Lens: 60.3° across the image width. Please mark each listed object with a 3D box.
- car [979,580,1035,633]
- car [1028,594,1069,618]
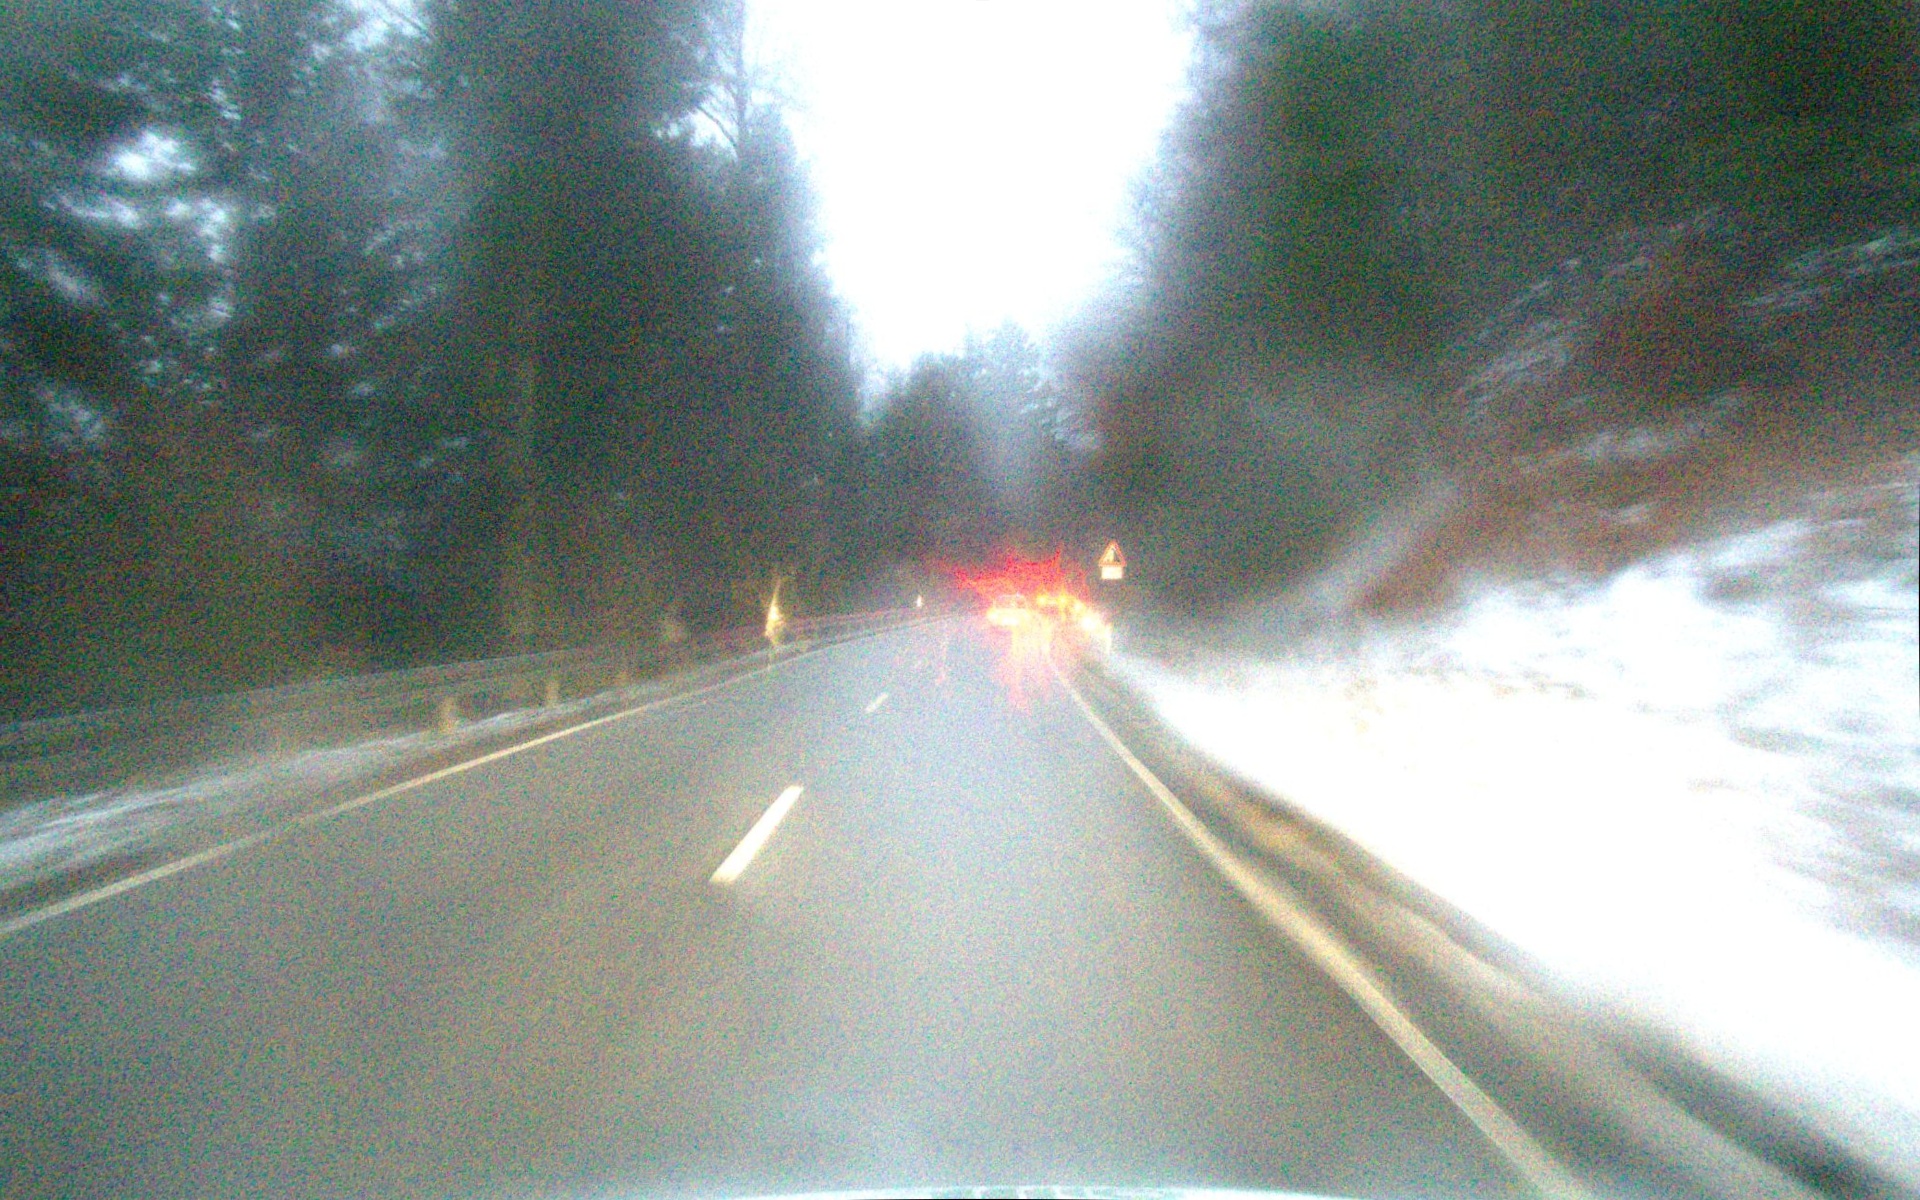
[{"bbox_3d":[1.769,0.220,63.186,1.953,1.905,4.000,-2,1,0],"label":"car"},{"bbox_3d":[5.384,0.332,101.085,1.955,1.333,3.996,-3,1,-5],"label":"car"}]
